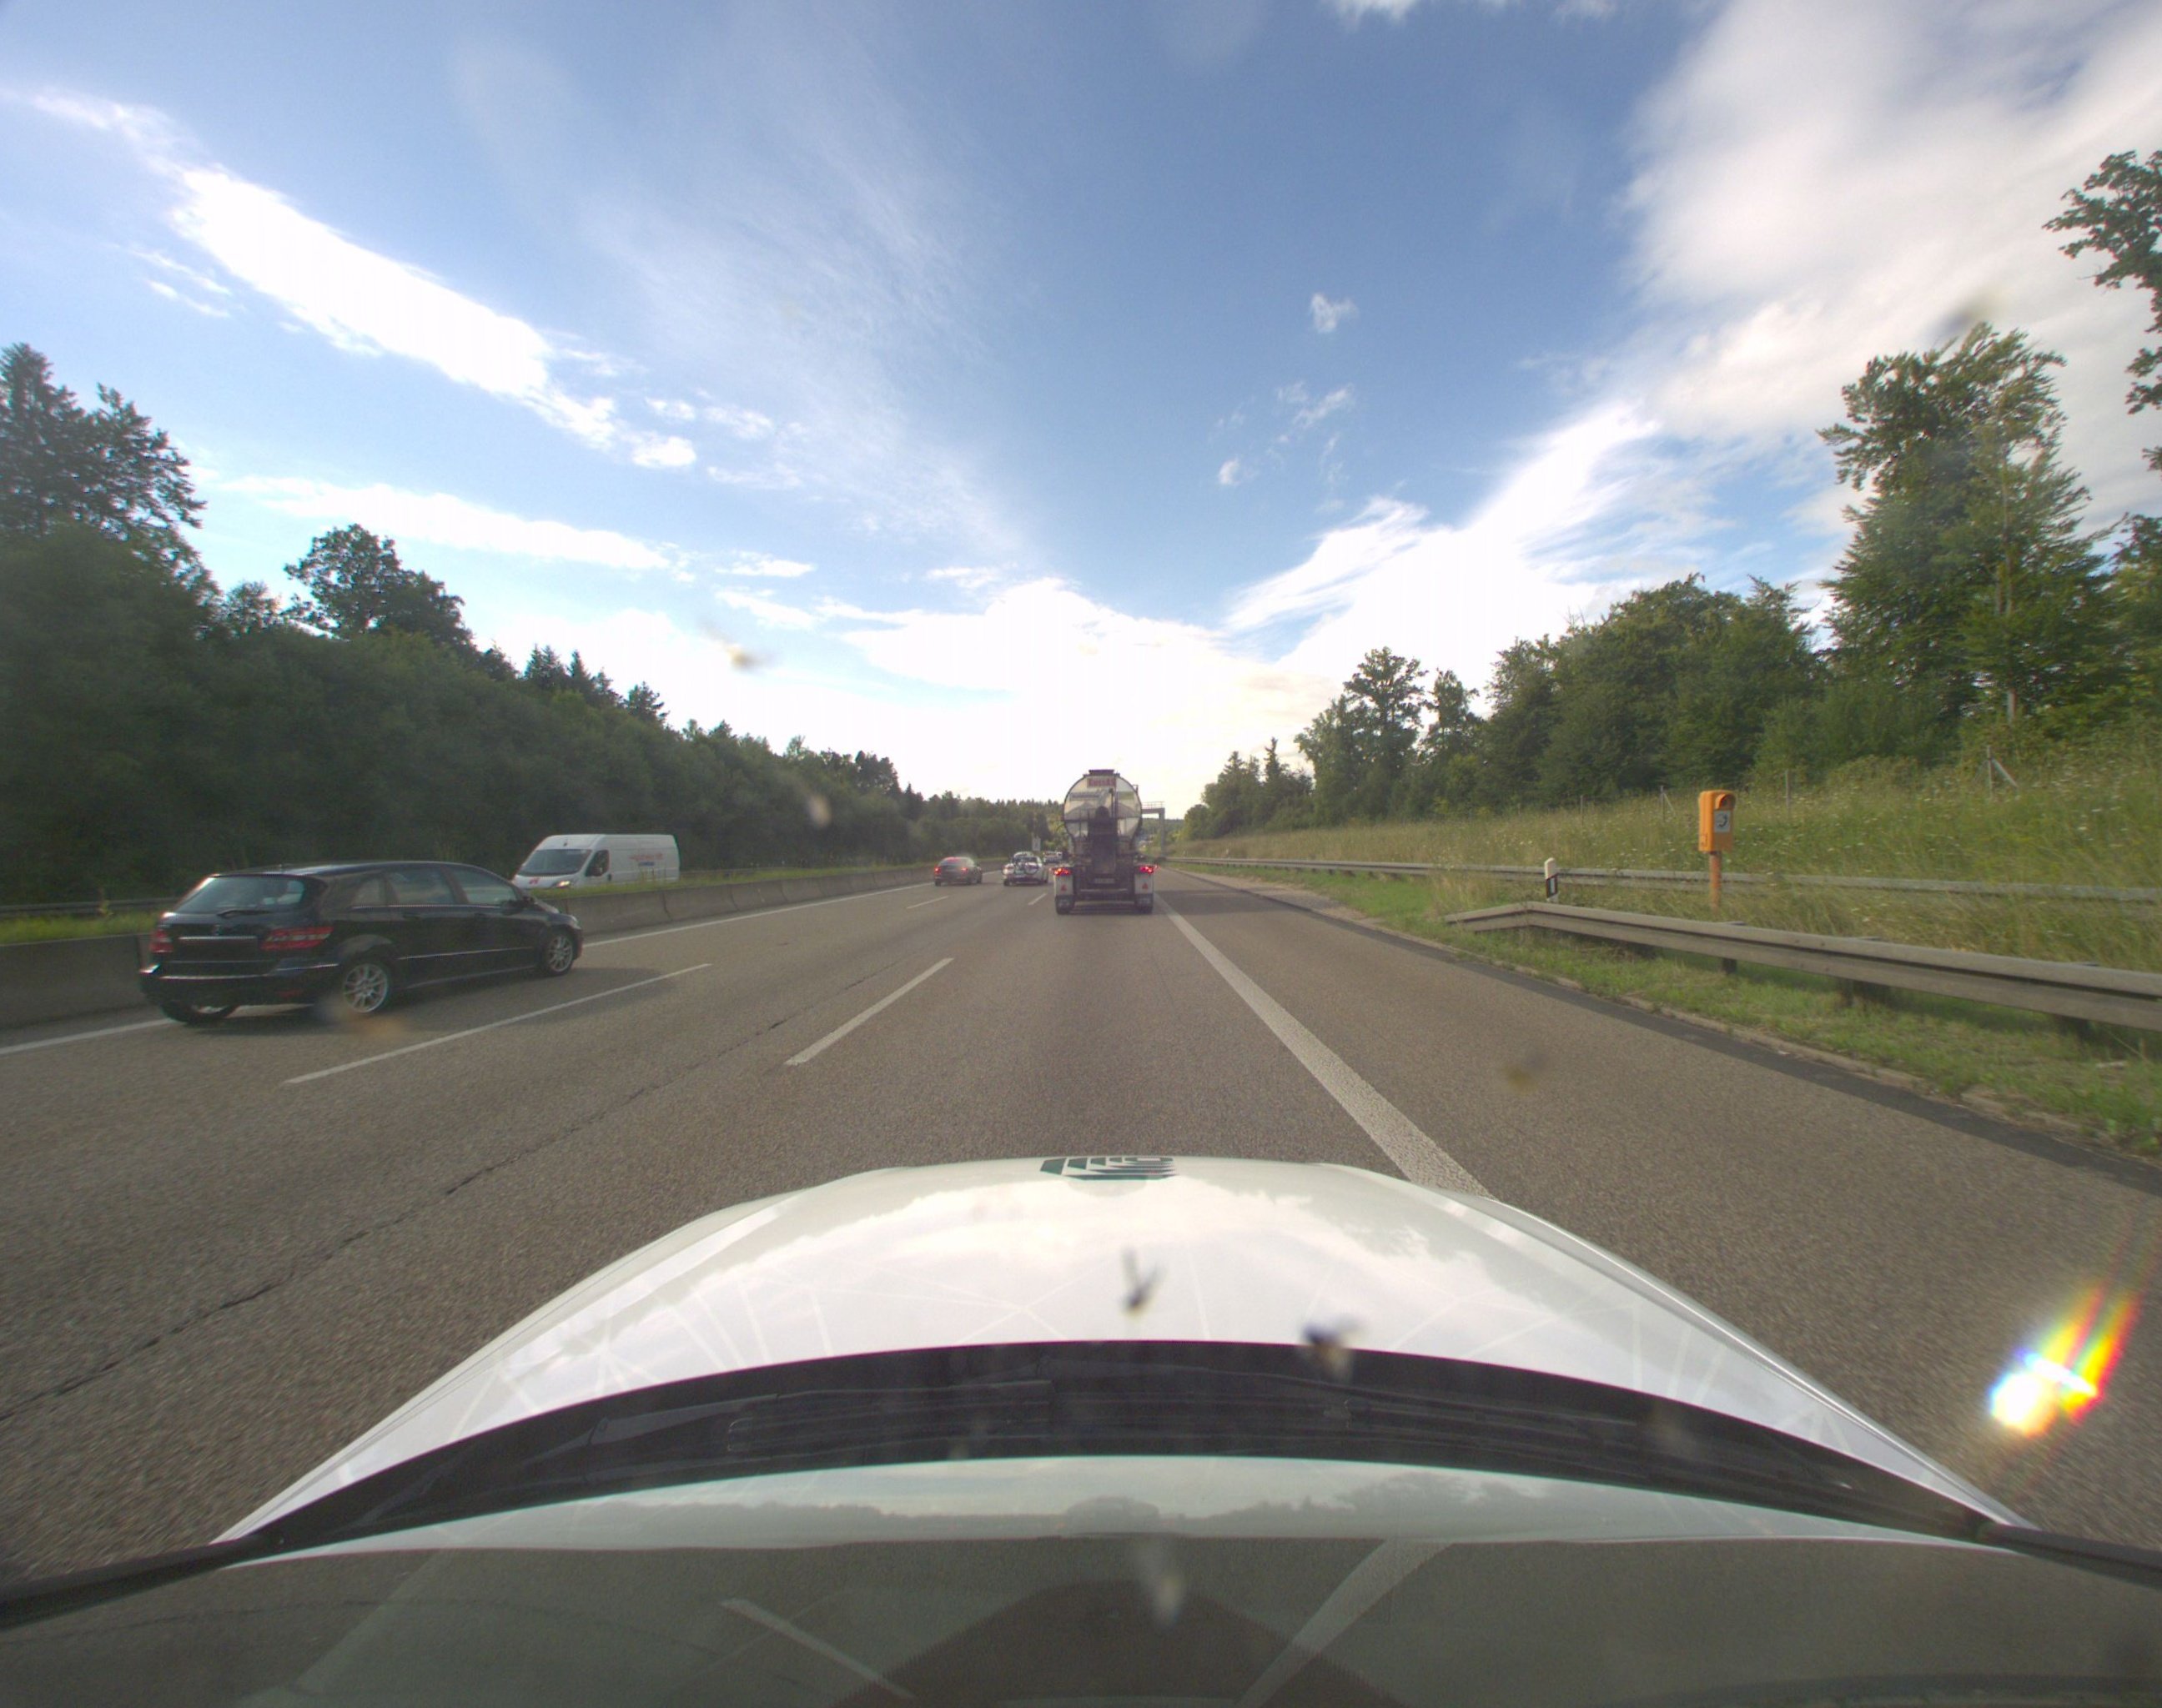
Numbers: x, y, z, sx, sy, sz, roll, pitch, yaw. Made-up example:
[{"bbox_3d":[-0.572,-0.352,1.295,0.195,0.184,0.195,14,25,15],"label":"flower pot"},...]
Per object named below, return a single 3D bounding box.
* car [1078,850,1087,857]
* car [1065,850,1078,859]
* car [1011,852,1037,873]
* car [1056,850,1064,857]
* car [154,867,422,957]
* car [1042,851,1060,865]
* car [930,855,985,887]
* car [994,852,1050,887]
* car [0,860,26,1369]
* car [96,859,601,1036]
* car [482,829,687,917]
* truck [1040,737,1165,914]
[{"bbox_3d":[0.277,-0.064,188.155,1.935,1.456,4.209,-1,1,2],"label":"car"},{"bbox_3d":[-1.666,0.114,143.570,1.935,1.585,4.209,-1,1,2],"label":"car"},{"bbox_3d":[-4.393,0.629,63.362,1.612,1.544,3.521,-1,0,2],"label":"car"},{"bbox_3d":[-5.914,-0.195,225.845,1.986,2.013,4.073,-1,0,1],"label":"car"},{"bbox_3d":[-18.791,1.286,19.671,1.917,1.805,4.495,-1,0,2],"label":"car"},{"bbox_3d":[-3.582,0.481,98.150,1.800,1.585,4.209,-1,1,2],"label":"car"},{"bbox_3d":[-6.111,0.807,40.880,1.849,1.431,4.843,-1,0,2],"label":"car"},{"bbox_3d":[-2.748,0.686,39.298,2.052,1.499,5.739,-1,0,2],"label":"car"},{"bbox_3d":[-4.229,0.802,0.339,1.828,1.517,4.335,-1,0,2],"label":"car"},{"bbox_3d":[-7.857,0.850,9.476,1.828,1.517,4.335,-1,0,2],"label":"car"},{"bbox_3d":[-14.977,0.508,25.164,2.569,2.346,5.832,-1,0,2],"label":"car"},{"bbox_3d":[0.748,-0.698,25.017,2.901,4.157,11.276,-1,0,2],"label":"truck"}]
